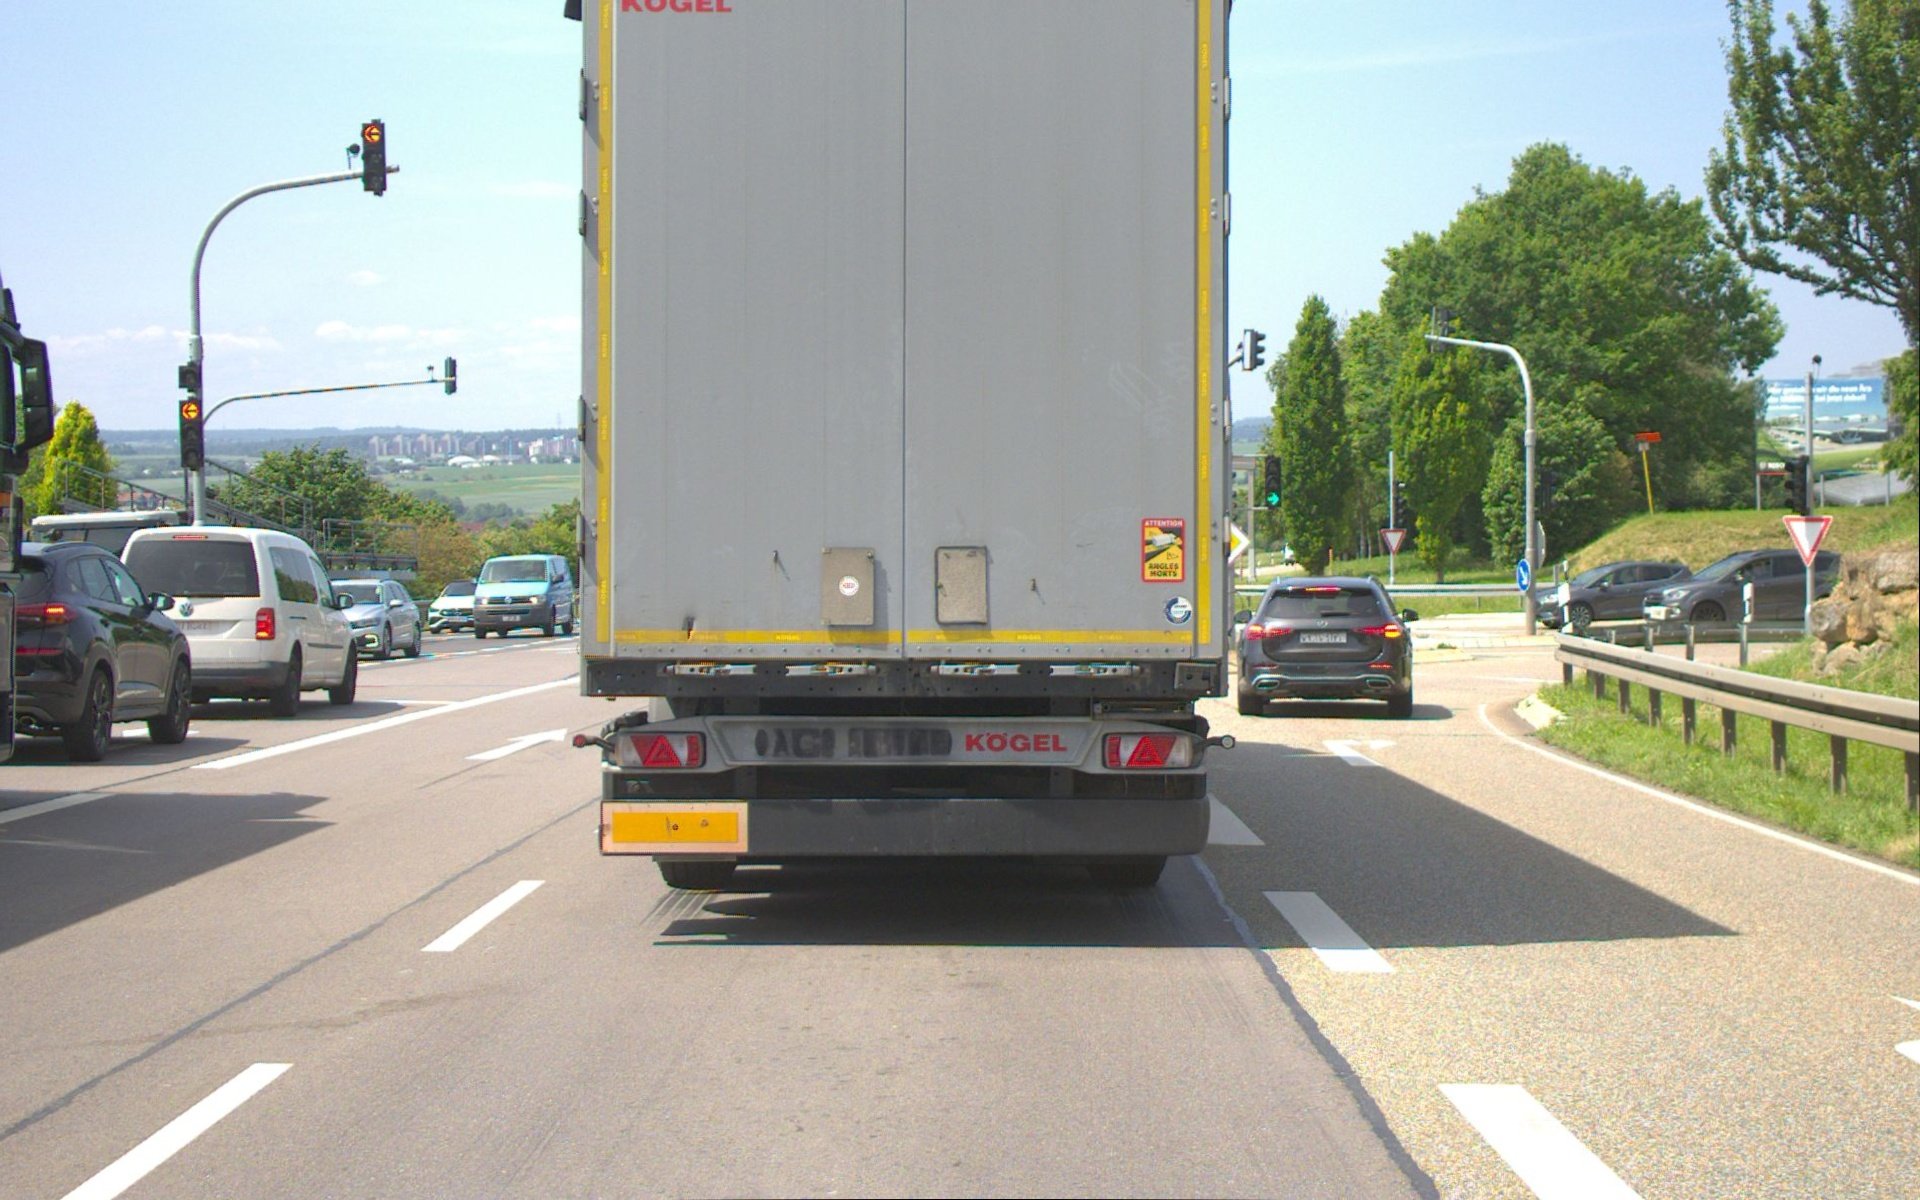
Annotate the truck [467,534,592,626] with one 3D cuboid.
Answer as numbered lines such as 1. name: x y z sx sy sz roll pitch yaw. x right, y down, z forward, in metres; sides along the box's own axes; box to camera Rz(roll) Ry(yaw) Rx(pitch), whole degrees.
1. truck: -10.378 -0.475 83.240 1.967 2.150 4.622 -1 0 6

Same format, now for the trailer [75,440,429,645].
1. trailer: -14.587 -1.081 73.272 2.639 3.750 19.797 -1 0 2

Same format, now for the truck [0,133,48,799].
1. truck: -7.163 -0.796 18.705 2.783 3.999 5.971 1 0 0

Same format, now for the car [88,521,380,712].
1. car: -7.283 0.127 34.938 1.768 1.792 4.752 1 1 2

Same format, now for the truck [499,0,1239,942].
1. truck: -0.400 -0.699 18.906 2.799 3.916 11.342 1 0 -1

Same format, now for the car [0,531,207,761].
1. car: -7.265 0.300 26.927 1.856 1.652 4.349 1 1 -1

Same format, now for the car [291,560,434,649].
1. car: -10.672 0.081 61.640 1.737 1.523 4.000 1 0 2

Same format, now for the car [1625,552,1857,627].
1. car: 16.190 -0.217 71.359 4.357 1.505 1.717 0 0 -10

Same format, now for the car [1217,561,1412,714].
1. car: 3.731 0.374 36.801 1.746 1.527 4.298 1 0 2

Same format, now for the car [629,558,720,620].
1. car: -7.372 -0.282 89.176 1.755 1.464 4.195 3 0 2

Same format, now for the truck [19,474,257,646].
1. truck: -15.078 -0.714 63.481 2.799 3.003 5.989 -1 0 2

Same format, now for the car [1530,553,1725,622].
1. car: 15.050 -0.280 77.593 3.986 1.505 1.716 0 0 -8

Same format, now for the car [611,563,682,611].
1. car: -9.791 -0.410 107.448 1.772 1.429 4.000 -1 0 1
